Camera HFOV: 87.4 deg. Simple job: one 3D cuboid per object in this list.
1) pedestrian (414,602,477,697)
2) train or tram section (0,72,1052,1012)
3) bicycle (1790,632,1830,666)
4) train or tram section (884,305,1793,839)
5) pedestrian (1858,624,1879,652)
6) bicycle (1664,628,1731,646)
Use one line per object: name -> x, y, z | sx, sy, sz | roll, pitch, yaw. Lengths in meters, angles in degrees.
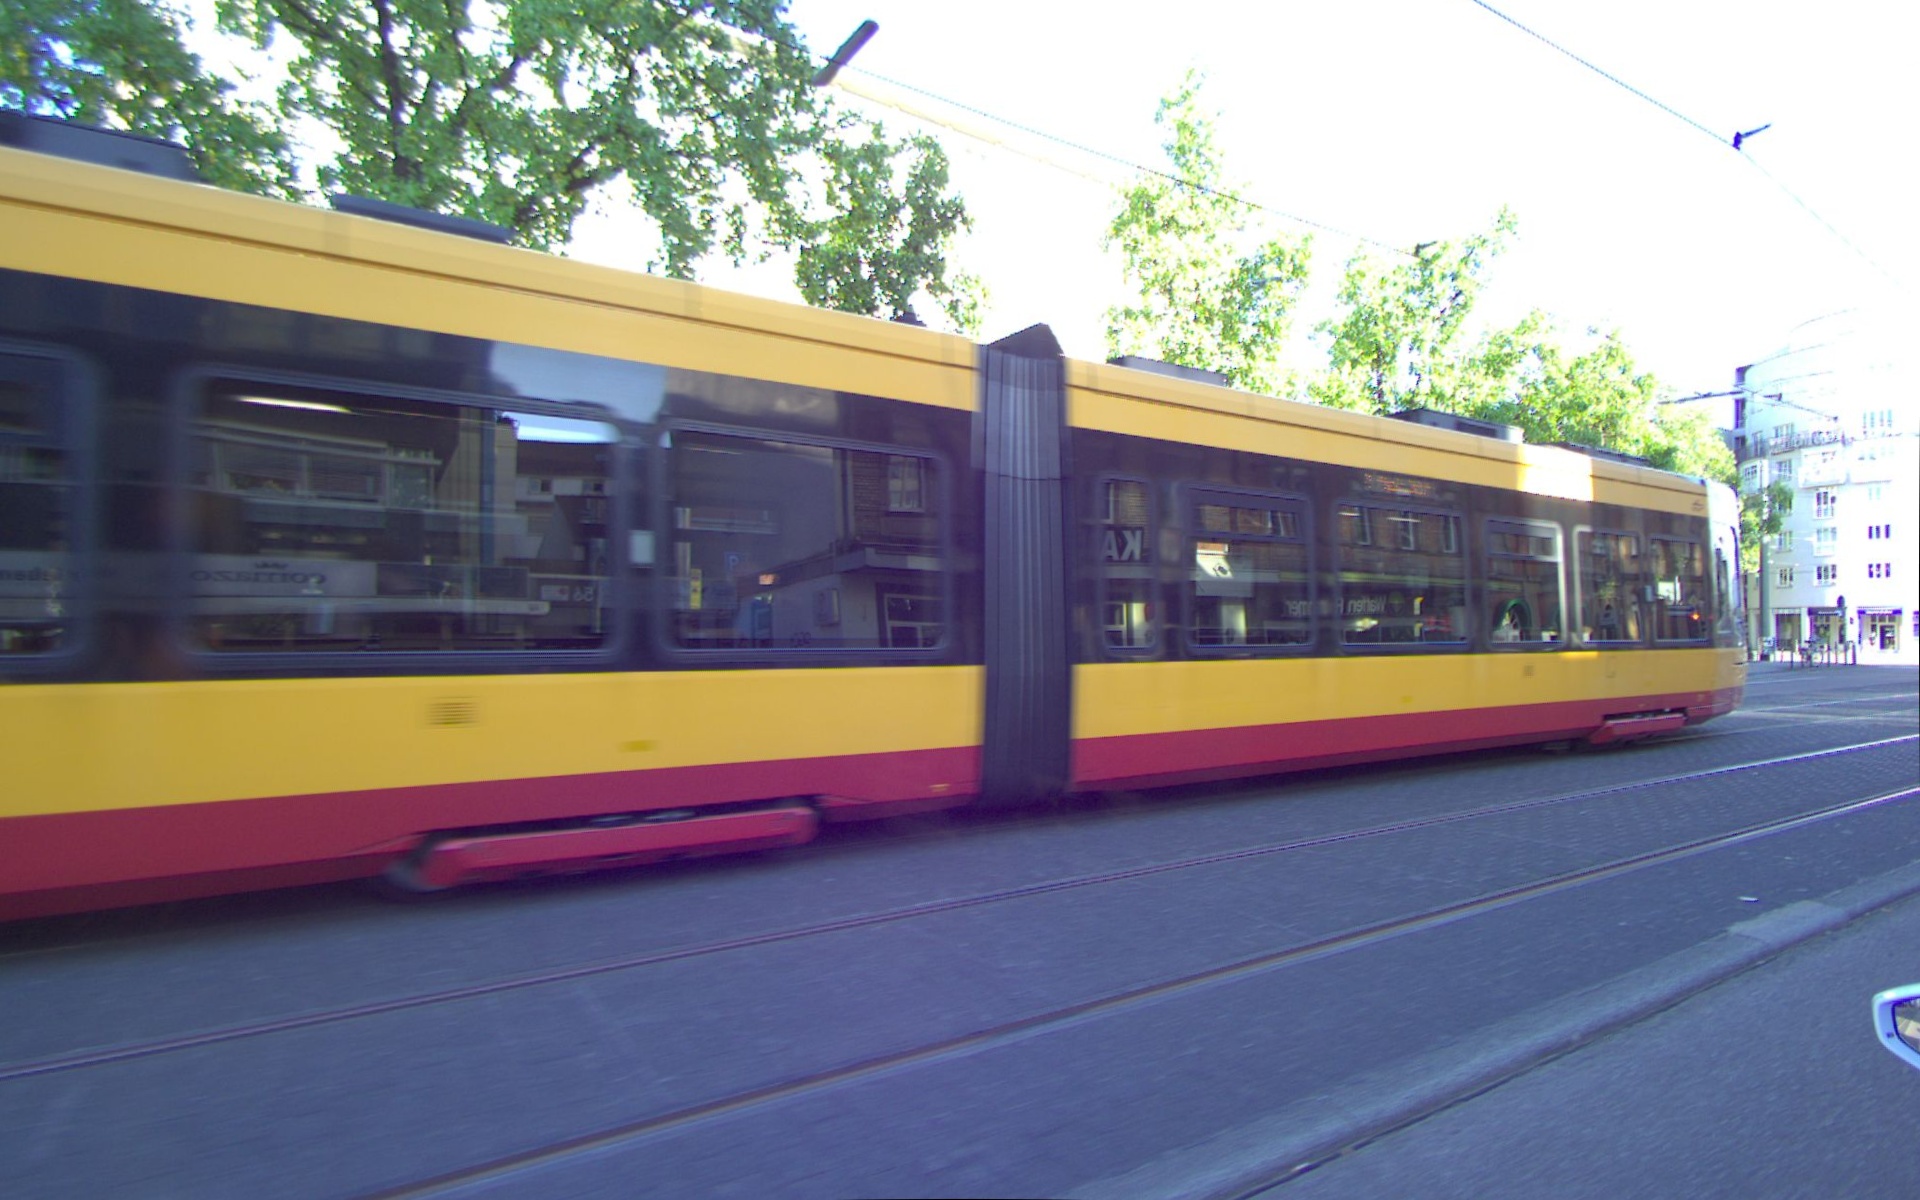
pedestrian -> -10.647, 1.011, 20.776 | 0.906, 1.902, 0.895 | -1, -2, 42
train or tram section -> -4.700, -0.200, 4.747 | 11.008, 3.597, 2.660 | 1, -3, -33
bicycle -> 35.877, 2.052, 42.383 | 1.883, 1.345, 0.668 | 1, 1, -30
train or tram section -> 5.332, -0.029, 11.373 | 12.704, 3.597, 2.660 | 1, -3, -33
pedestrian -> 65.546, 2.743, 72.458 | 0.930, 2.040, 0.939 | -1, -1, 30
bicycle -> 63.833, 3.171, 86.983 | 1.053, 1.550, 4.685 | 1, -2, -28
